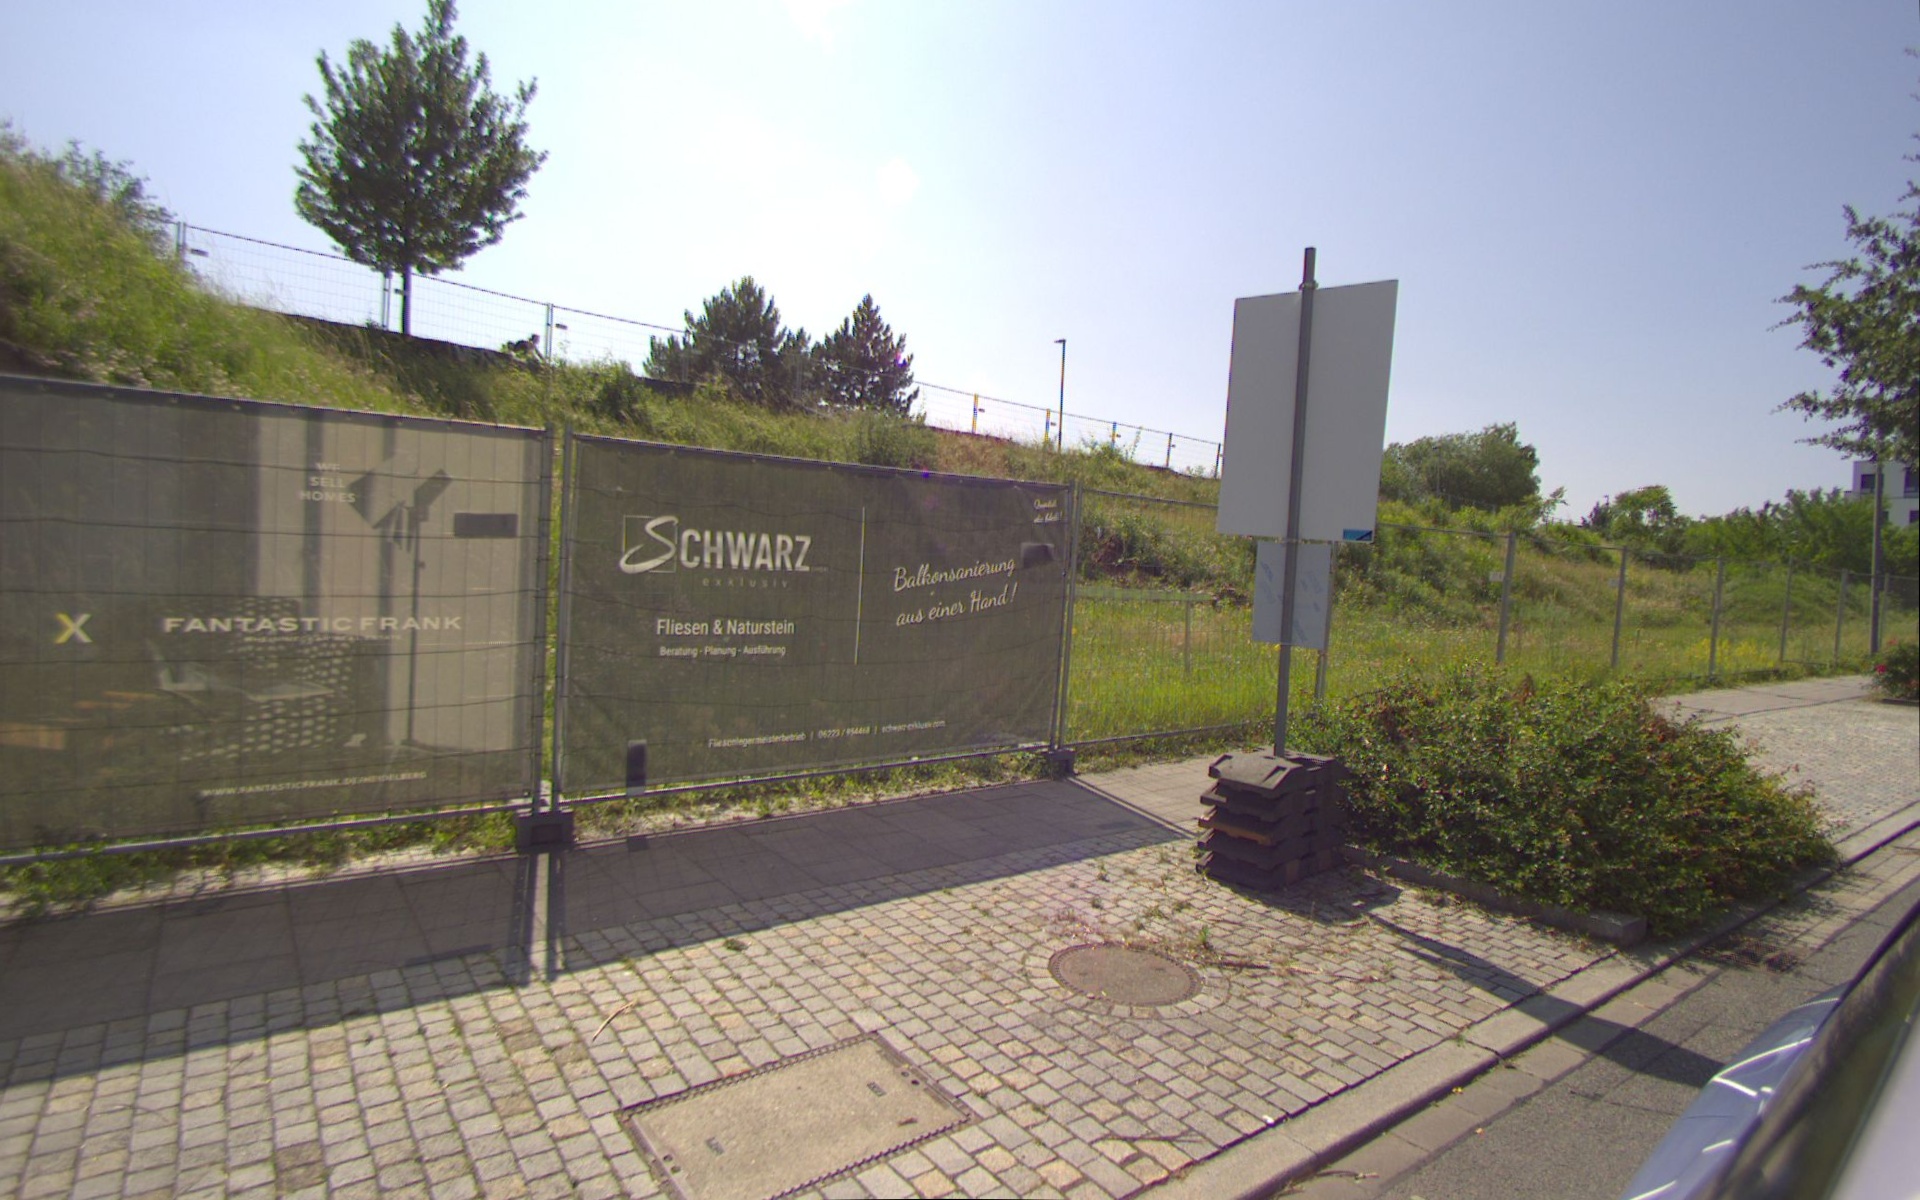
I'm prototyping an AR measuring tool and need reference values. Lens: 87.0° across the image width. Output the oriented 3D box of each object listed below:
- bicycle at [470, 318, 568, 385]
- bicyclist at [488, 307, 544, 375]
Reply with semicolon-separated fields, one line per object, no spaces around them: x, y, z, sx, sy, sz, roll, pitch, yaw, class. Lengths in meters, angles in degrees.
-11.298;-6.341;25.976;0.934;1.228;2.140;0;1;44;bicycle
-11.369;-6.612;25.930;0.950;1.406;1.046;0;0;44;bicyclist
